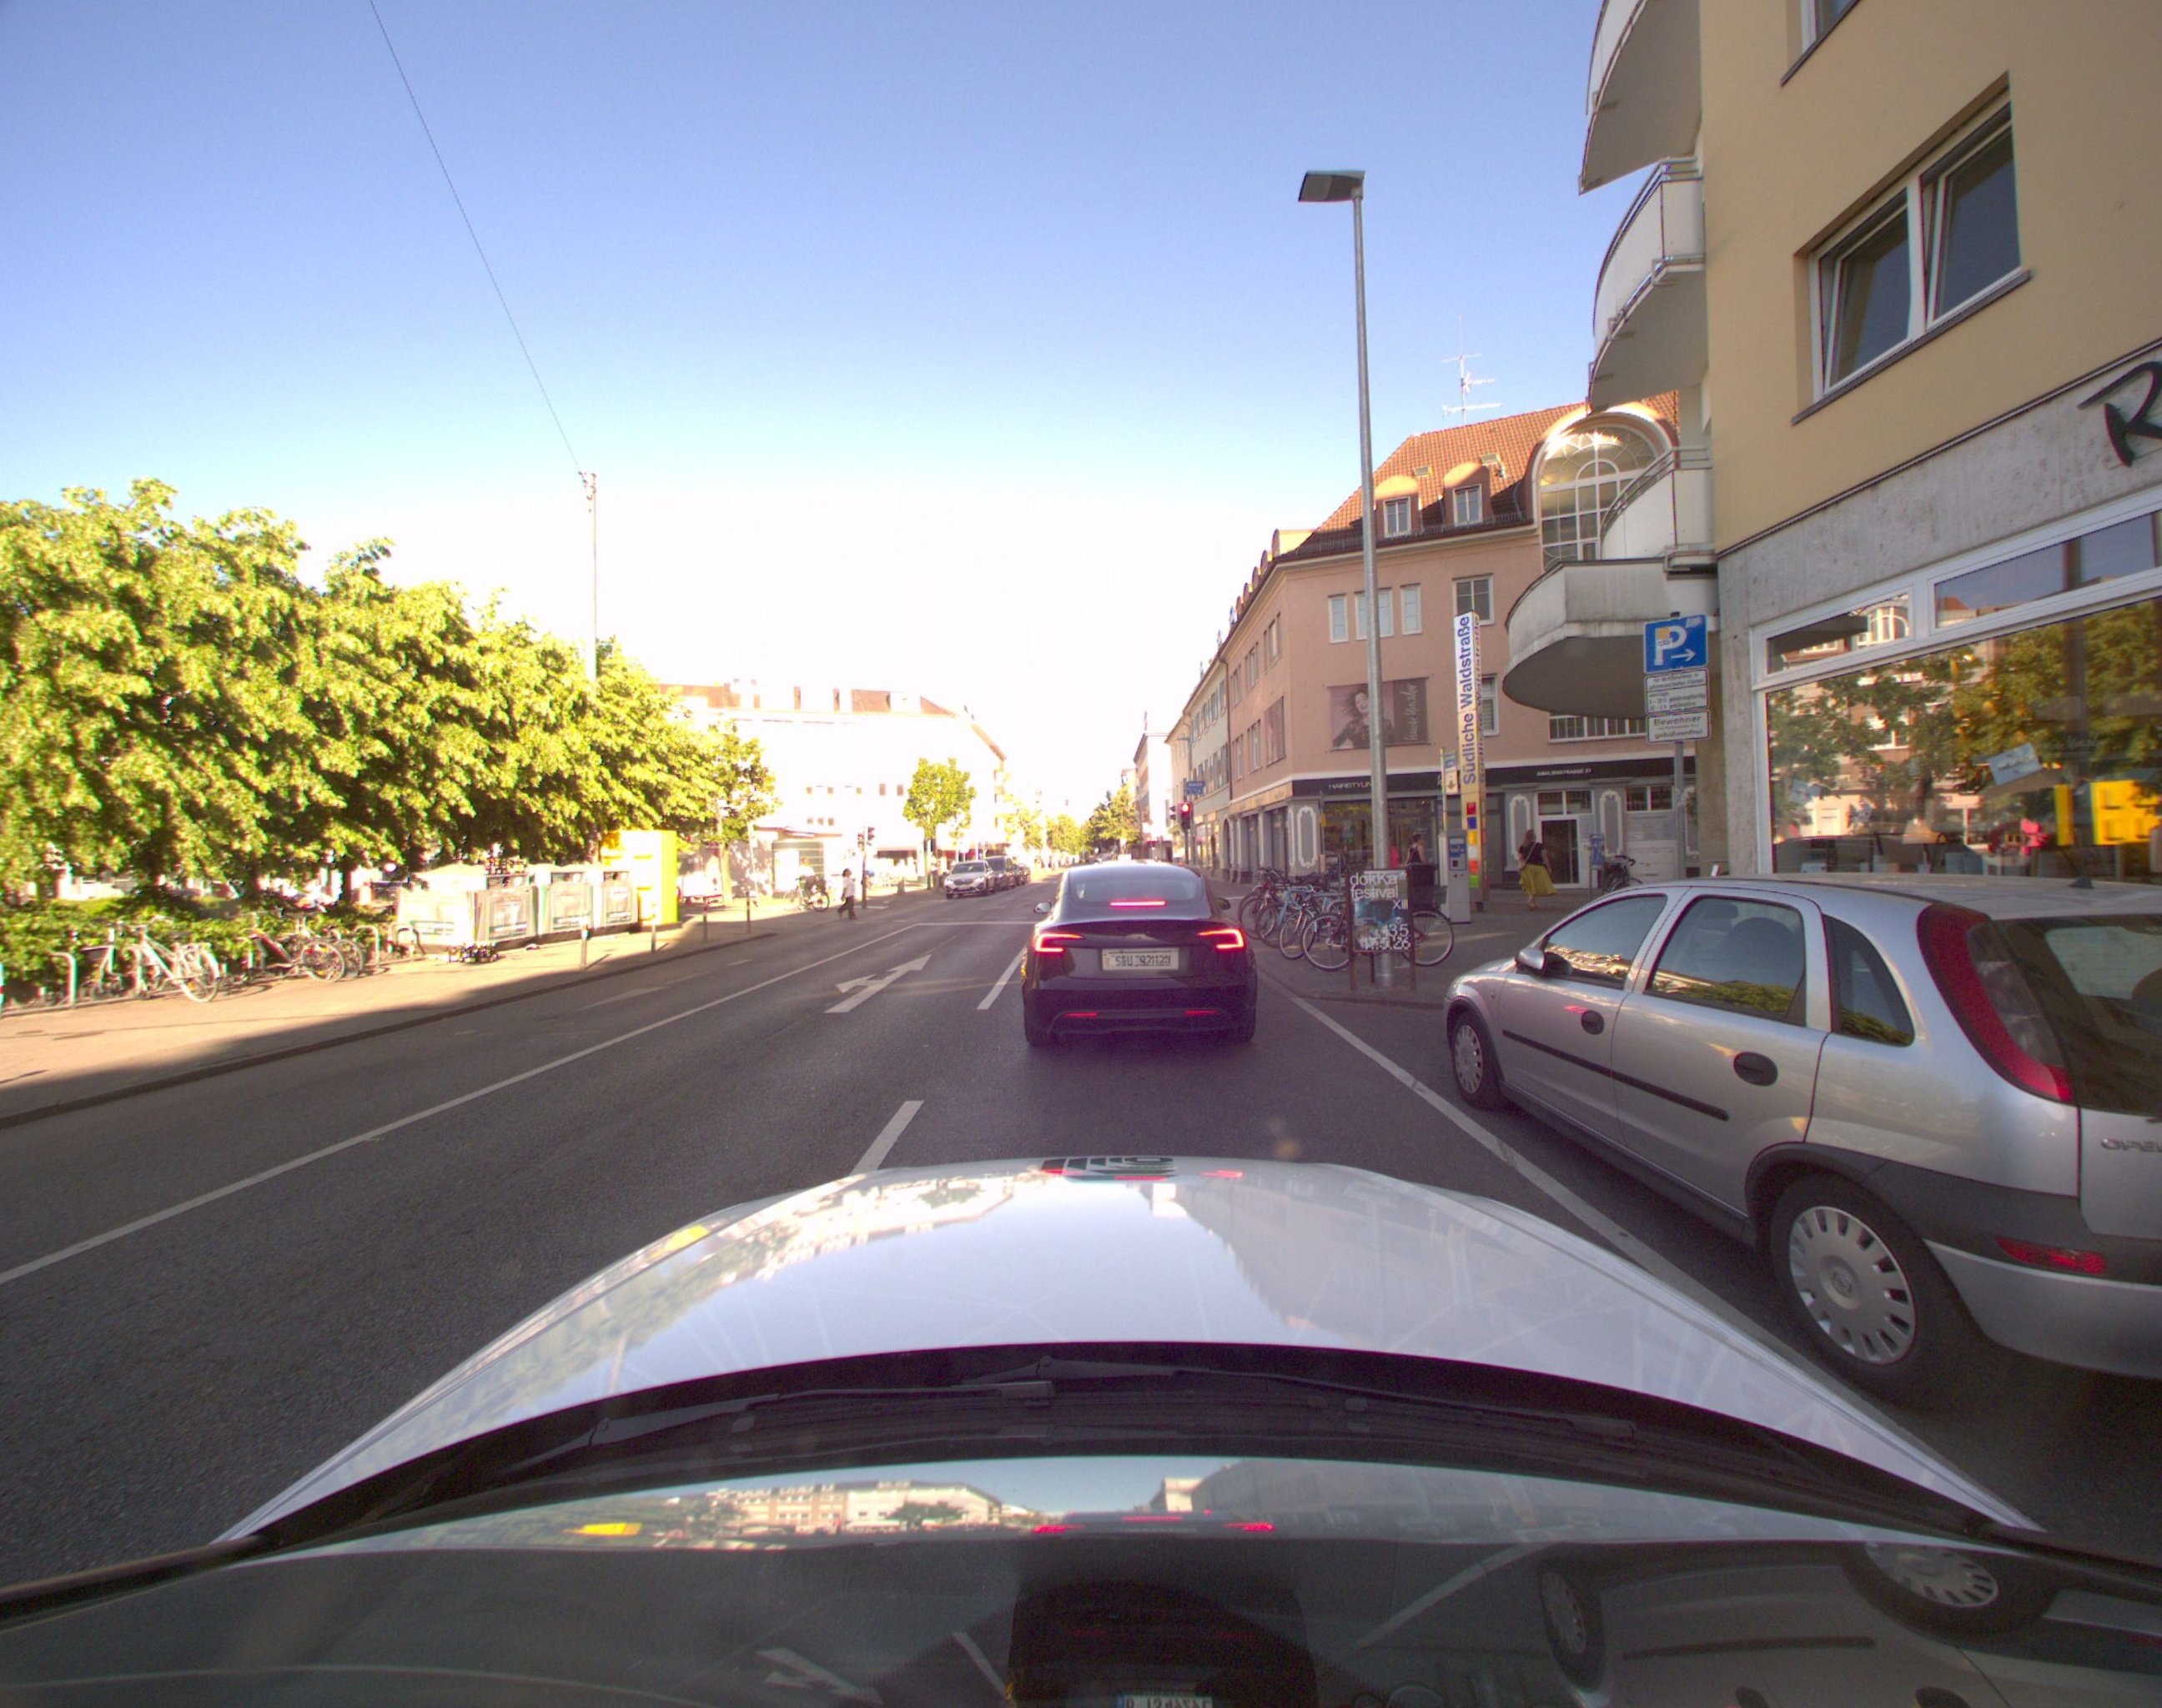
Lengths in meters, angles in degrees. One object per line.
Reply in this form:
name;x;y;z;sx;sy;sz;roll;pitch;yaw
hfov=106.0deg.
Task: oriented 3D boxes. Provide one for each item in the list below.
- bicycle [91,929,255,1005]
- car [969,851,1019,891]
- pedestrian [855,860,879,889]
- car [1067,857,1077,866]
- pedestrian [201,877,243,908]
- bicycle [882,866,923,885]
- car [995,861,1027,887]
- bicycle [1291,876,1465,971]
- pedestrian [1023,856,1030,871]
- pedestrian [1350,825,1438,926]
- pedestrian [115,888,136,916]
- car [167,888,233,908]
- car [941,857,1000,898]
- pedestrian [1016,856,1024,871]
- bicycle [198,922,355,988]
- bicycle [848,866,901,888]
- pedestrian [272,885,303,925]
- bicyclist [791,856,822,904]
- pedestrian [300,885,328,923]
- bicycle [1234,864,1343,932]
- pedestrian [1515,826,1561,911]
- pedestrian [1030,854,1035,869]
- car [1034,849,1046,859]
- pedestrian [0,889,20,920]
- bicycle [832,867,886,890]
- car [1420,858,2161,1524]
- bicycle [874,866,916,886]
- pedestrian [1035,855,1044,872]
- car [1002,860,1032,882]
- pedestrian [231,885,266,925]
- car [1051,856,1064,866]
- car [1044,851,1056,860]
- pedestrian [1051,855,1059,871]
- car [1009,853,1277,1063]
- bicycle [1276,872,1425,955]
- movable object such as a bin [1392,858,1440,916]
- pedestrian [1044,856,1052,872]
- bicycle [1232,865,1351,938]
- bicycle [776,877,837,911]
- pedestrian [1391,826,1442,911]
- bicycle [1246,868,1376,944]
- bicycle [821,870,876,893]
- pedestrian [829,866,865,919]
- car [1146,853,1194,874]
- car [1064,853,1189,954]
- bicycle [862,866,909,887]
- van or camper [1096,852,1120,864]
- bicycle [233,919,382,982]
bicycle;-11.459;1.418;10.301;1.560;0.886;0.470;0;-1;1
car;-4.495;0.837;42.916;1.938;1.947;4.822;-1;0;2
pedestrian;-12.351;1.163;47.010;1.266;1.611;1.089;0;-1;-18
car;-2.002;1.784;187.424;2.124;1.970;4.135;-1;0;2
pedestrian;-35.486;1.581;33.657;0.926;1.214;0.873;-1;-1;17
bicycle;-12.053;1.423;54.999;2.535;1.251;0.942;0;-1;-1
car;-4.256;1.207;50.042;1.455;1.430;3.607;-5;-1;2
bicycle;3.638;0.845;10.078;1.875;1.044;0.653;-2;0;2
pedestrian;-6.487;1.134;97.454;0.734;1.868;0.787;0;-1;-15
pedestrian;5.622;0.376;14.627;1.067;1.719;1.100;0;-1;-42
pedestrian;-53.478;2.690;45.584;0.629;1.524;0.573;0;-1;-34
car;-60.228;3.015;55.719;2.758;1.266;1.234;0;-1;-23
car;-4.883;1.017;36.593;1.818;1.565;4.302;-5;-1;2
pedestrian;-7.302;1.139;97.314;0.734;1.868;0.787;0;-1;-15
bicycle;-11.424;1.424;11.598;1.667;0.859;0.469;0;-1;-5
bicycle;-12.154;1.365;47.979;2.867;1.270;0.942;0;-1;-1
pedestrian;-31.829;2.034;32.672;0.827;1.520;0.782;-1;-1;38
bicyclist;-9.441;0.890;27.977;0.821;1.614;0.581;0;0;11
pedestrian;-31.282;2.031;33.228;0.553;1.508;0.611;-1;-1;17
bicycle;3.739;0.783;14.767;1.806;1.152;0.653;-1;0;3
pedestrian;9.713;0.302;17.309;0.714;1.754;0.792;-4;-1;31
pedestrian;-6.217;0.981;104.220;0.693;1.868;0.658;0;-1;-3
car;-9.024;-0.006;180.133;2.266;2.014;4.720;0;-1;3
pedestrian;-66.734;3.122;50.172;1.305;1.842;1.091;0;-1;-31
bicycle;-12.393;1.373;45.583;2.772;1.274;0.933;0;-1;-2
car;2.963;0.738;3.542;1.578;1.426;3.581;0;-1;2
bicycle;-11.999;1.403;52.572;2.535;1.251;0.942;0;-1;-1
pedestrian;-4.834;1.103;95.030;0.726;1.868;0.796;-1;-1;30
car;-4.427;1.156;57.003;1.688;1.390;3.915;-3;-1;0
pedestrian;-33.094;1.999;32.403;0.928;1.520;0.924;0;-1;-43
car;-4.862;1.328;166.804;2.405;1.970;4.679;-1;0;2
car;-7.168;0.297;188.728;2.266;2.014;4.720;0;-1;3
pedestrian;-3.067;1.097;95.967;0.776;1.868;1.003;0;-1;-15
car;0.498;0.739;7.878;1.843;1.447;4.453;0;0;2
bicycle;3.658;0.798;11.151;1.806;1.060;0.653;-1;0;3
movable object such as a bin;6.746;0.657;16.418;0.633;1.103;0.728;-4;-1;5
pedestrian;-3.913;1.194;96.135;0.696;1.868;0.905;0;-1;-14
bicycle;3.498;0.775;13.638;1.806;1.152;0.653;-1;0;3
bicycle;-9.438;1.360;27.971;1.941;1.158;0.577;0;0;10
pedestrian;7.653;0.333;18.631;0.678;1.849;0.894;-5;-1;3
bicycle;3.521;0.791;12.562;1.806;1.102;0.653;-1;0;3
bicycle;-12.325;1.440;43.239;2.652;1.195;0.942;0;-1;-1
pedestrian;-6.981;1.144;24.327;0.919;1.543;0.694;0;-1;-4
car;8.146;0.875;74.645;4.006;1.867;1.686;-1;0;-20
car;0.744;0.749;14.302;1.843;1.482;4.453;0;0;2
bicycle;-12.054;1.389;50.296;2.655;1.259;0.942;0;-1;-1
van or camper;5.630;0.858;167.656;4.833;2.438;1.851;-1;0;1
bicycle;-11.459;1.425;12.097;1.663;0.859;0.469;0;-1;-5
